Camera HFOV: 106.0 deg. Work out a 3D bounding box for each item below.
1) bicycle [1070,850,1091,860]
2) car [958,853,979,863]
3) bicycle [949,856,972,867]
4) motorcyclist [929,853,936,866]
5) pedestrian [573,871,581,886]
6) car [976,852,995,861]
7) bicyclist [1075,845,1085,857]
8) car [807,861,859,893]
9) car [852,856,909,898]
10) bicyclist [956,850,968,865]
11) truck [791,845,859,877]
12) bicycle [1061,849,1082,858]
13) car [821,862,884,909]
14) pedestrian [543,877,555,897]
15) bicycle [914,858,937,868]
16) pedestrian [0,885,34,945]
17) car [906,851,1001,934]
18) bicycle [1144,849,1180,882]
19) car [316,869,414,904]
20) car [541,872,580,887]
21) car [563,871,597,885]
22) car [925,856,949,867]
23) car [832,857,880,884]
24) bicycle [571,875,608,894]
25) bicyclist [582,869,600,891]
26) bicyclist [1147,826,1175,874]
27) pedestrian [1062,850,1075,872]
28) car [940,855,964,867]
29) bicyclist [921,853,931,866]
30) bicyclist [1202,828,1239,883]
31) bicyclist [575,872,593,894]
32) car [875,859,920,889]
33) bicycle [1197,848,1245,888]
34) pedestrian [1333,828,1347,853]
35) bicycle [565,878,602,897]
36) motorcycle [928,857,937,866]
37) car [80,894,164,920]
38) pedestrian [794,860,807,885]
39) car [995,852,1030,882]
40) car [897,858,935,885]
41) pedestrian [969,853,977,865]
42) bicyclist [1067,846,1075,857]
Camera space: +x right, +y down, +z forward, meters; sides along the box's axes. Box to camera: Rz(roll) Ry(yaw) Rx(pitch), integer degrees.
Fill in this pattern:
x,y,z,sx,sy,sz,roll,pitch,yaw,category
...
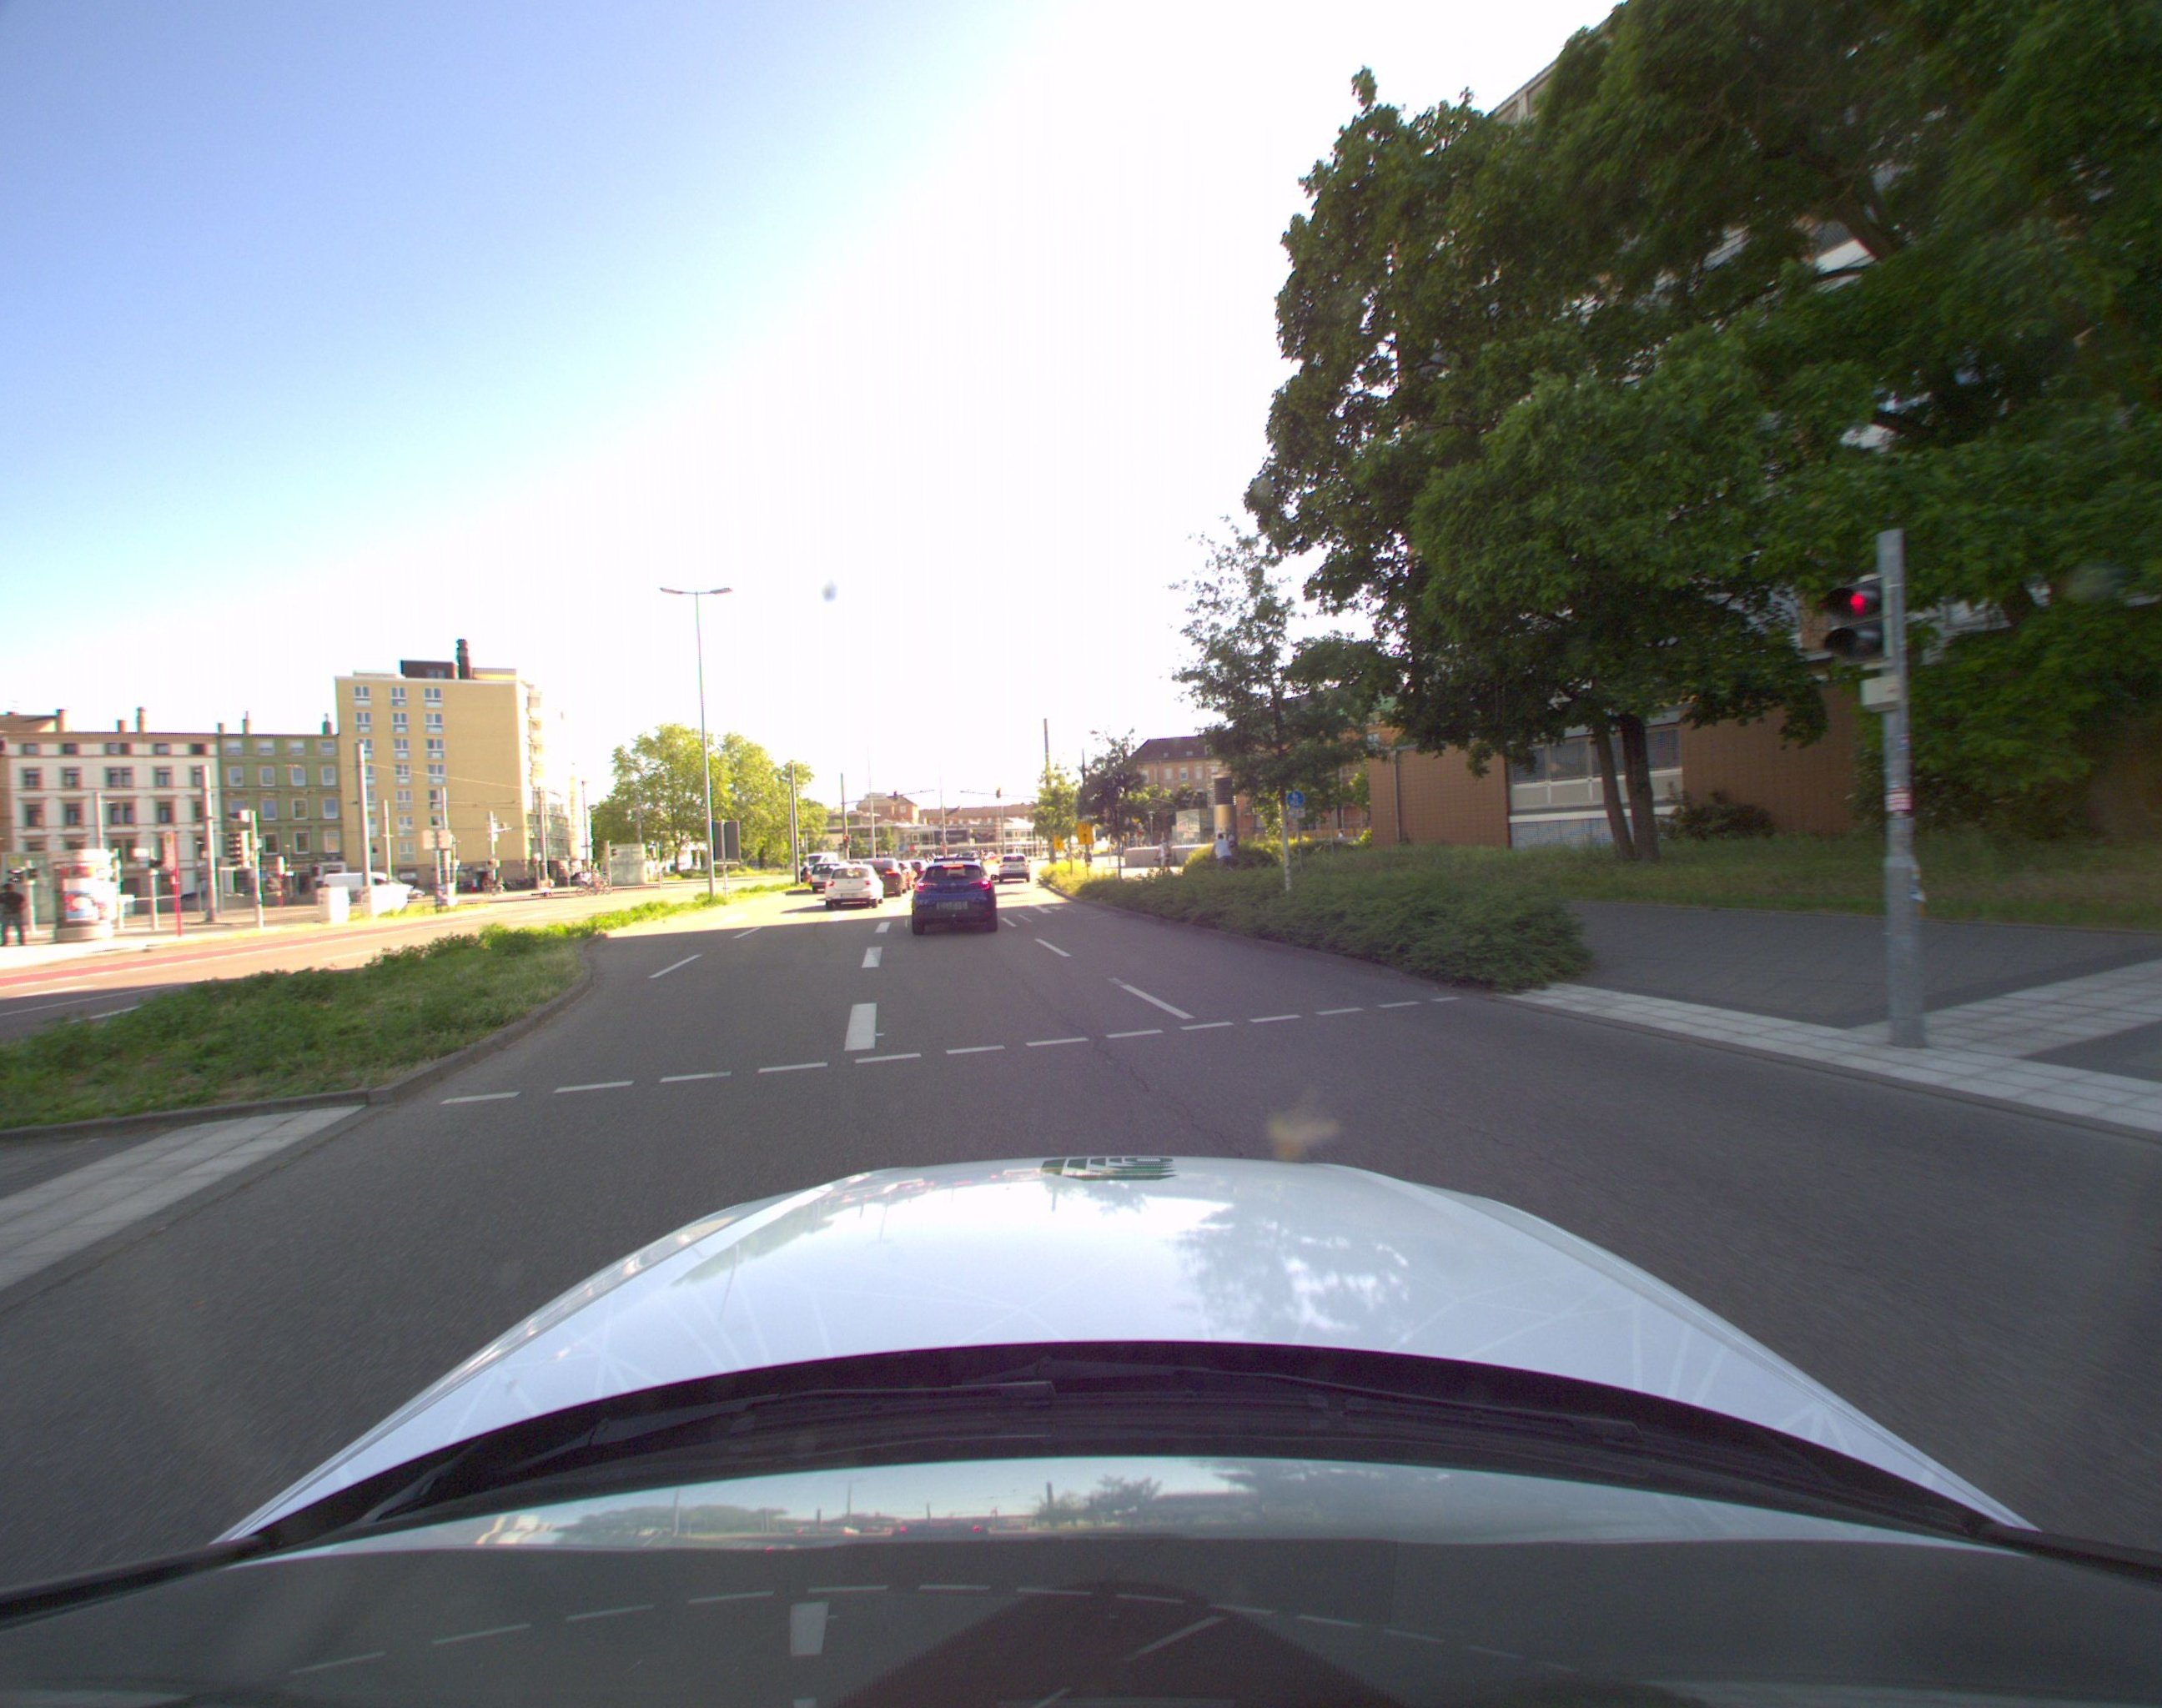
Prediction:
x,y,z,sx,sy,sz,roll,pitch,yaw,category
-0.082,0.122,113.602,2.657,1.188,0.940,-3,2,-23,bicycle
-17.494,0.651,126.919,1.713,1.442,4.199,-1,0,13,car
-15.098,0.965,102.111,2.663,1.188,0.938,-3,3,-30,bicycle
-19.642,0.713,107.703,0.546,1.621,0.746,-3,0,9,motorcyclist
-56.128,2.751,90.762,0.610,1.610,0.793,-3,2,-28,pedestrian
-15.716,0.327,134.060,1.713,1.442,4.199,-1,0,13,car
-0.119,-0.405,113.565,1.067,1.584,0.940,-3,2,-23,bicyclist
-12.115,1.080,40.049,1.723,1.442,3.791,0,0,-6,car
-8.559,0.939,35.058,1.984,1.624,4.364,-1,0,-9,car
-14.984,0.430,102.183,1.191,1.776,0.938,-3,2,-30,bicyclist
-20.387,0.498,65.314,2.200,2.313,6.903,-3,0,10,truck
-1.277,-0.064,109.119,2.644,1.095,0.965,-3,0,-11,bicycle
-7.744,1.014,27.888,1.691,1.436,3.723,-1,0,-10,car
-39.094,2.406,59.852,0.595,1.408,0.565,-2,2,-22,pedestrian
-19.432,1.124,101.903,2.657,1.188,0.940,-3,2,-23,bicycle
-31.647,1.794,24.171,0.780,1.742,0.651,-1,-1,35,pedestrian
-2.850,0.826,18.491,1.876,1.618,3.786,-1,-1,-8,car
3.079,0.422,30.982,0.747,1.165,1.861,-3,1,-14,bicycle
-57.999,2.600,66.081,5.510,2.411,1.985,-3,0,-23,car
-59.251,2.938,92.786,3.449,1.510,1.679,-2,0,-25,car
-60.028,2.866,97.605,3.279,1.316,1.513,-3,2,-26,car
-20.226,1.017,114.494,1.713,1.442,4.200,-3,0,13,car
-12.992,0.913,47.298,1.720,1.442,3.908,0,0,-1,car
-32.702,2.046,54.170,1.949,1.165,0.641,-2,0,-8,bicycle
-32.613,1.713,54.181,0.773,1.444,0.642,-2,0,-6,bicyclist
3.047,-0.148,31.008,0.720,1.762,0.973,-3,0,-13,bicyclist
-0.965,0.530,63.862,0.588,1.723,0.876,-3,-2,27,pedestrian
-17.824,0.921,112.659,1.713,1.442,4.200,-3,0,13,car
-19.373,0.713,101.928,1.067,1.584,0.940,-3,2,-23,bicyclist
4.289,0.045,25.099,0.721,1.617,0.972,-3,1,-15,bicyclist
-33.671,1.936,55.149,0.773,1.444,0.641,-2,0,-8,bicyclist
-9.200,0.976,41.070,1.668,1.442,3.716,0,0,-4,car
4.293,0.416,25.138,0.717,1.165,1.861,-3,1,-15,bicycle
18.663,-0.985,58.769,0.540,1.752,0.781,-3,2,-32,pedestrian
-33.680,2.244,55.153,1.949,1.165,0.641,-2,0,-8,bicycle
-19.618,0.985,107.777,0.558,1.094,1.841,-3,0,10,motorcycle
-80.555,4.411,68.460,4.002,1.771,1.986,-3,2,-21,car
-18.296,1.214,53.126,0.575,1.610,0.563,-3,2,-33,pedestrian
-3.960,0.724,47.611,1.872,1.617,3.621,-1,0,-3,car
-9.549,0.974,47.357,1.722,1.442,3.793,0,0,-4,car
-14.215,0.675,107.242,0.695,1.610,0.857,0,2,30,pedestrian
-1.322,-0.330,109.110,0.962,1.449,0.965,-3,0,-10,bicyclist
